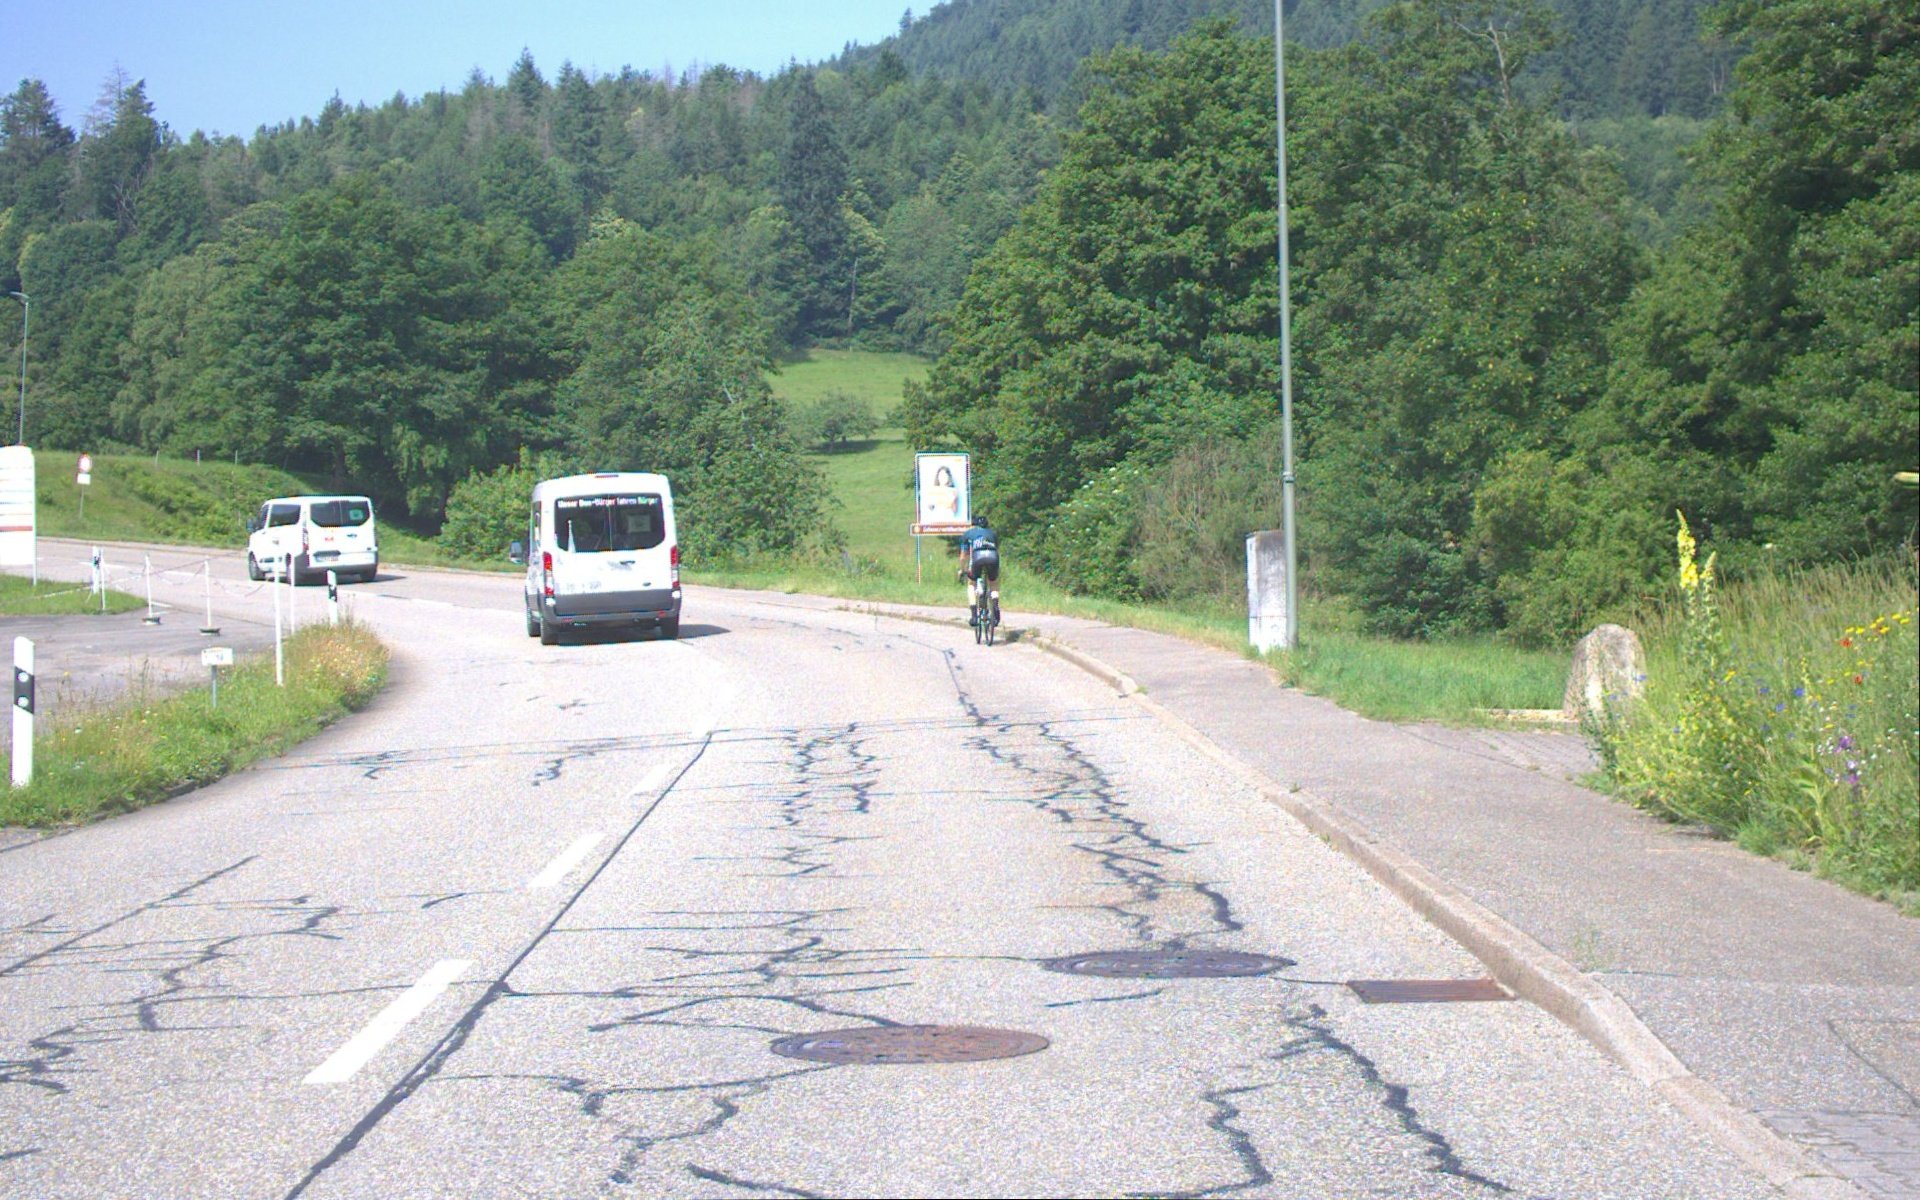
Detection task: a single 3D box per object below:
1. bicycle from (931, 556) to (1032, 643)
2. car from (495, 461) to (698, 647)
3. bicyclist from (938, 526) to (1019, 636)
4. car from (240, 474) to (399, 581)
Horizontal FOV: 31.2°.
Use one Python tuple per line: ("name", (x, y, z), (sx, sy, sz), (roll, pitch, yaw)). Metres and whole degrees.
("bicycle", (0.261, -0.024, 43.610), (0.579, 1.031, 1.991), (-5, 2, -19))
("car", (-5.515, -0.759, 51.622), (2.222, 2.516, 4.986), (-4, 3, -14))
("bicyclist", (0.231, -0.253, 43.613), (0.579, 1.338, 1.145), (-5, 2, -20))
("car", (-14.929, -1.699, 79.918), (2.222, 2.278, 4.985), (-5, 3, -26))
